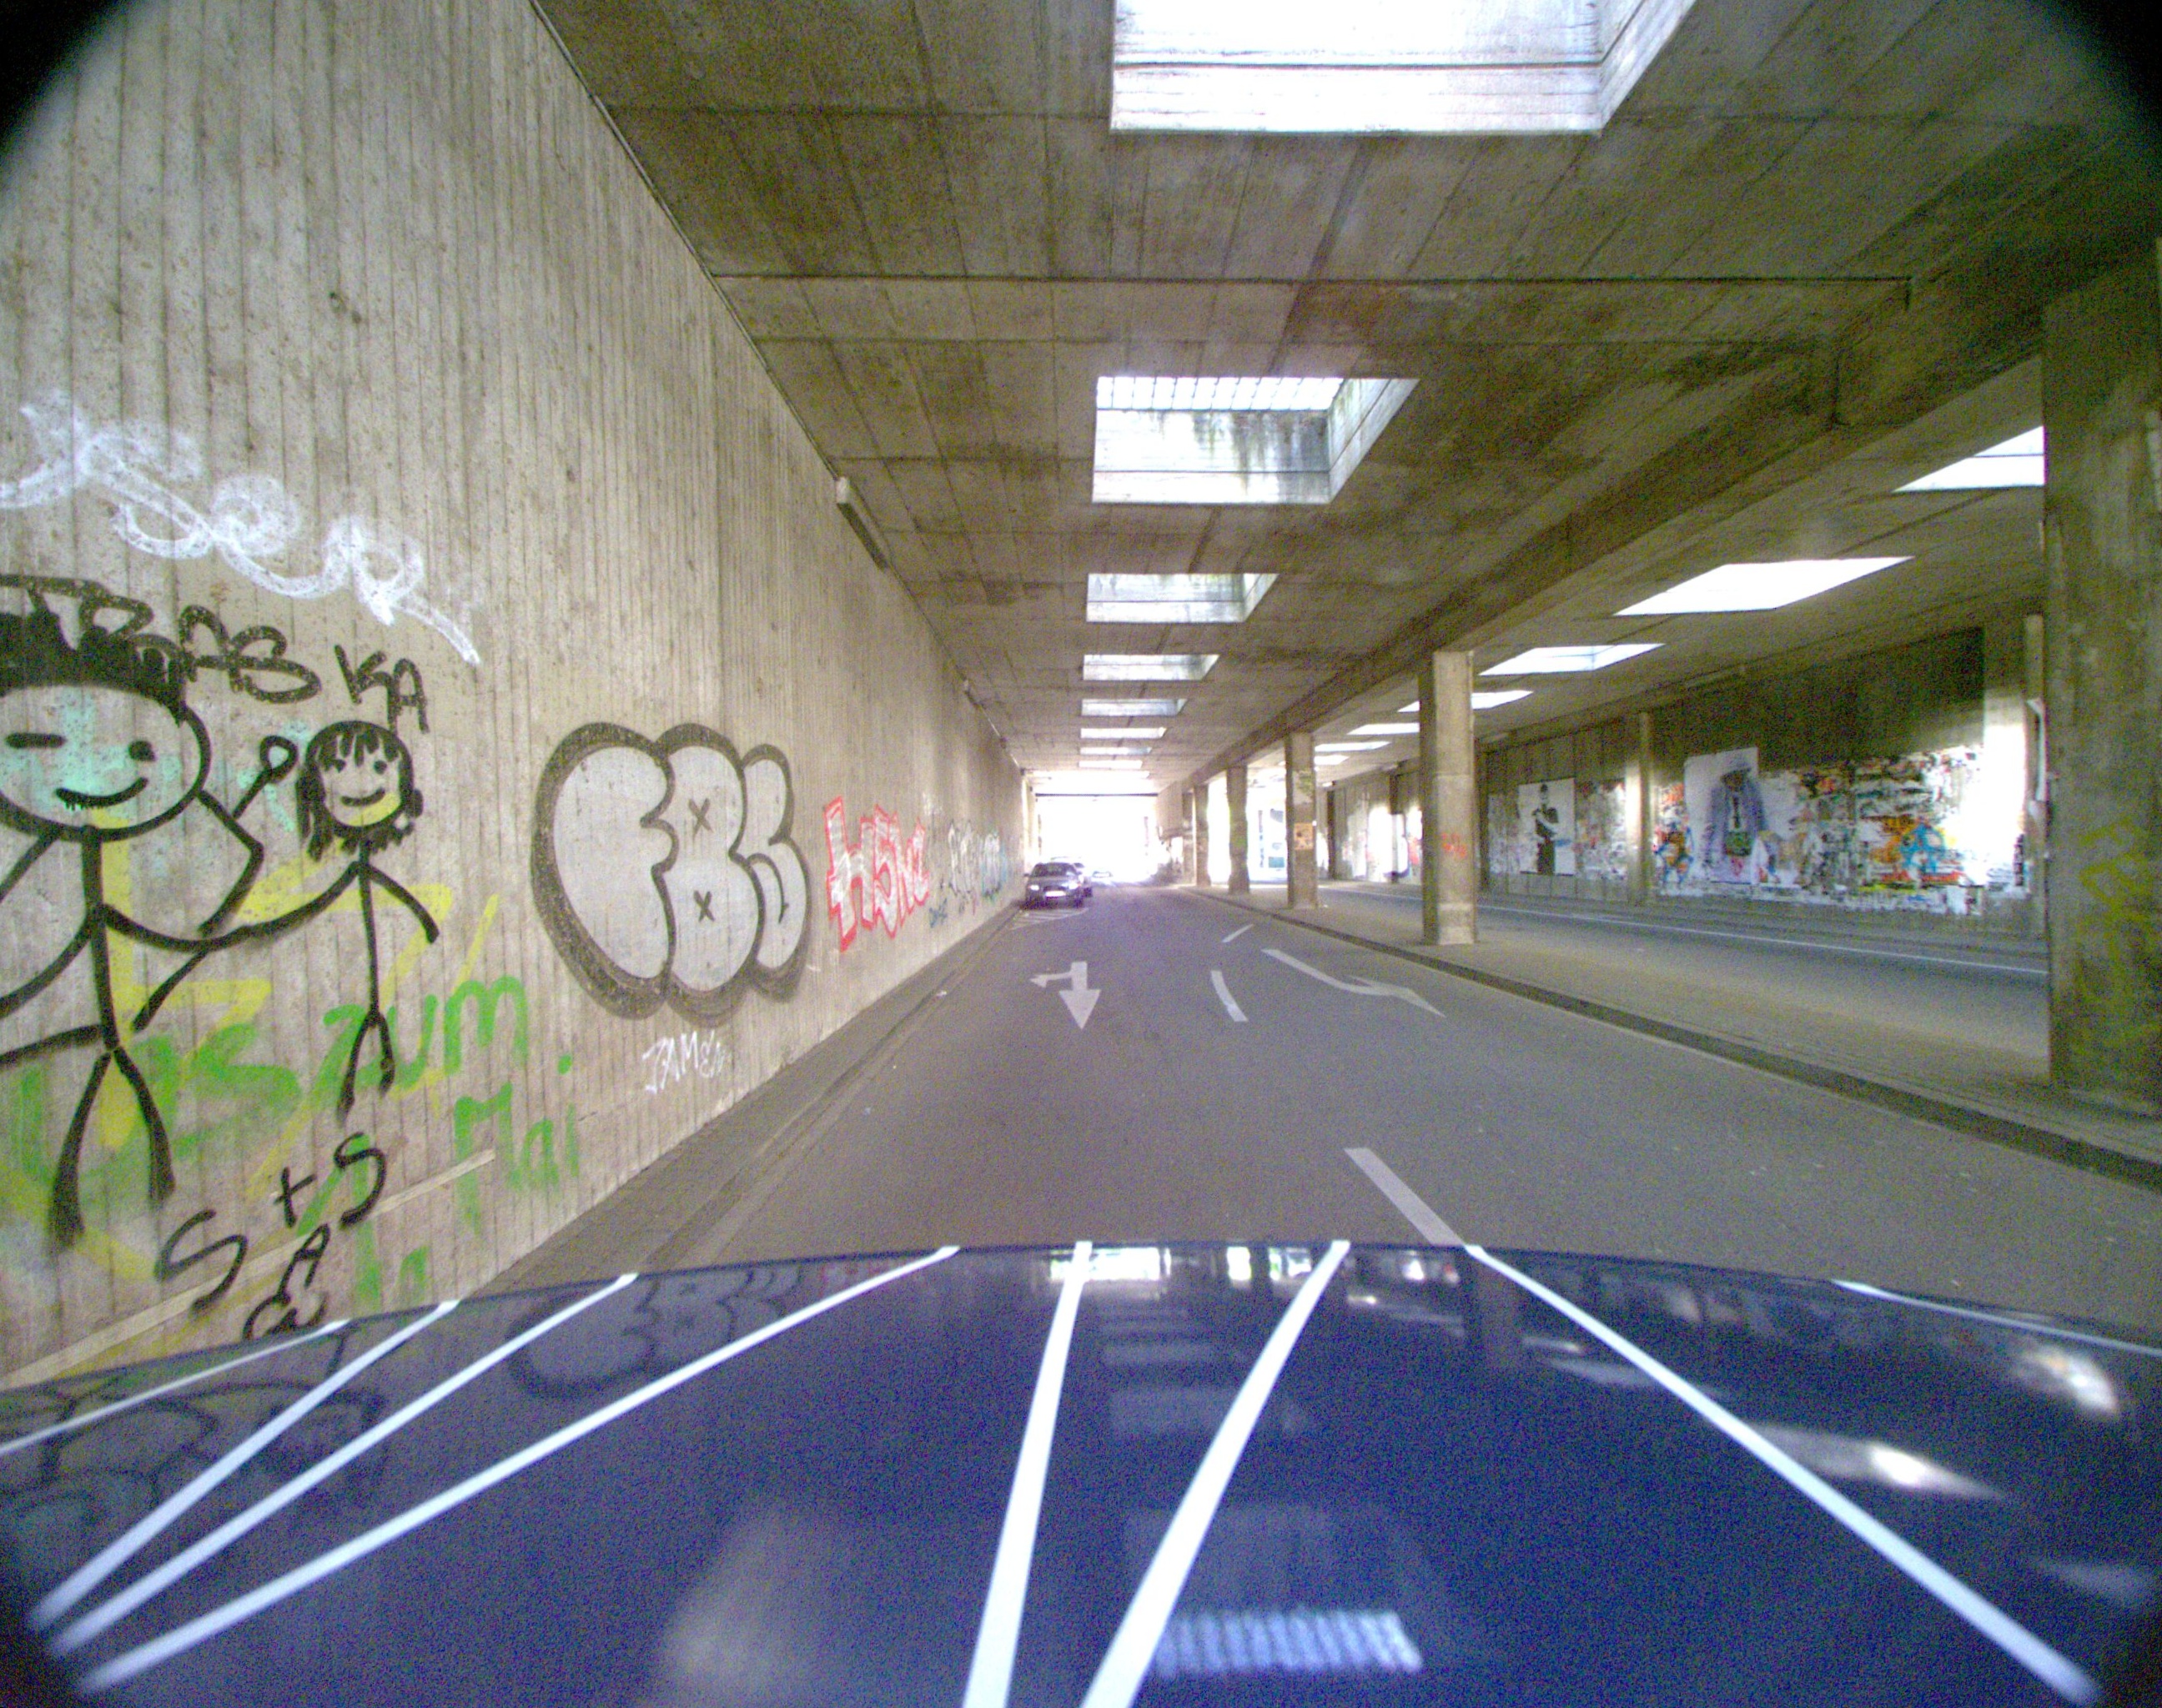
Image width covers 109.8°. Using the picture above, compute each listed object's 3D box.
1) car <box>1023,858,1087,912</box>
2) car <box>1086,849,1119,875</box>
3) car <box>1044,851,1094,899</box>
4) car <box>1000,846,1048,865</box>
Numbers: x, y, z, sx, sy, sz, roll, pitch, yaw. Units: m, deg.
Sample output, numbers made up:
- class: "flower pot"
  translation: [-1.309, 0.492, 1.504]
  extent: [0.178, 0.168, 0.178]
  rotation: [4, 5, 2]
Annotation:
- class: "car"
  translation: [-0.735, 0.913, 23.995]
  extent: [1.767, 1.407, 3.999]
  rotation: [-2, 1, 1]
- class: "car"
  translation: [1.517, 0.549, 55.218]
  extent: [1.999, 1.740, 4.858]
  rotation: [-2, 1, -2]
- class: "car"
  translation: [-0.498, 0.764, 29.815]
  extent: [1.767, 1.634, 3.999]
  rotation: [-2, 1, -2]
- class: "car"
  translation: [-5.929, 0.160, 79.003]
  extent: [4.857, 1.740, 1.999]
  rotation: [-2, 1, -2]
